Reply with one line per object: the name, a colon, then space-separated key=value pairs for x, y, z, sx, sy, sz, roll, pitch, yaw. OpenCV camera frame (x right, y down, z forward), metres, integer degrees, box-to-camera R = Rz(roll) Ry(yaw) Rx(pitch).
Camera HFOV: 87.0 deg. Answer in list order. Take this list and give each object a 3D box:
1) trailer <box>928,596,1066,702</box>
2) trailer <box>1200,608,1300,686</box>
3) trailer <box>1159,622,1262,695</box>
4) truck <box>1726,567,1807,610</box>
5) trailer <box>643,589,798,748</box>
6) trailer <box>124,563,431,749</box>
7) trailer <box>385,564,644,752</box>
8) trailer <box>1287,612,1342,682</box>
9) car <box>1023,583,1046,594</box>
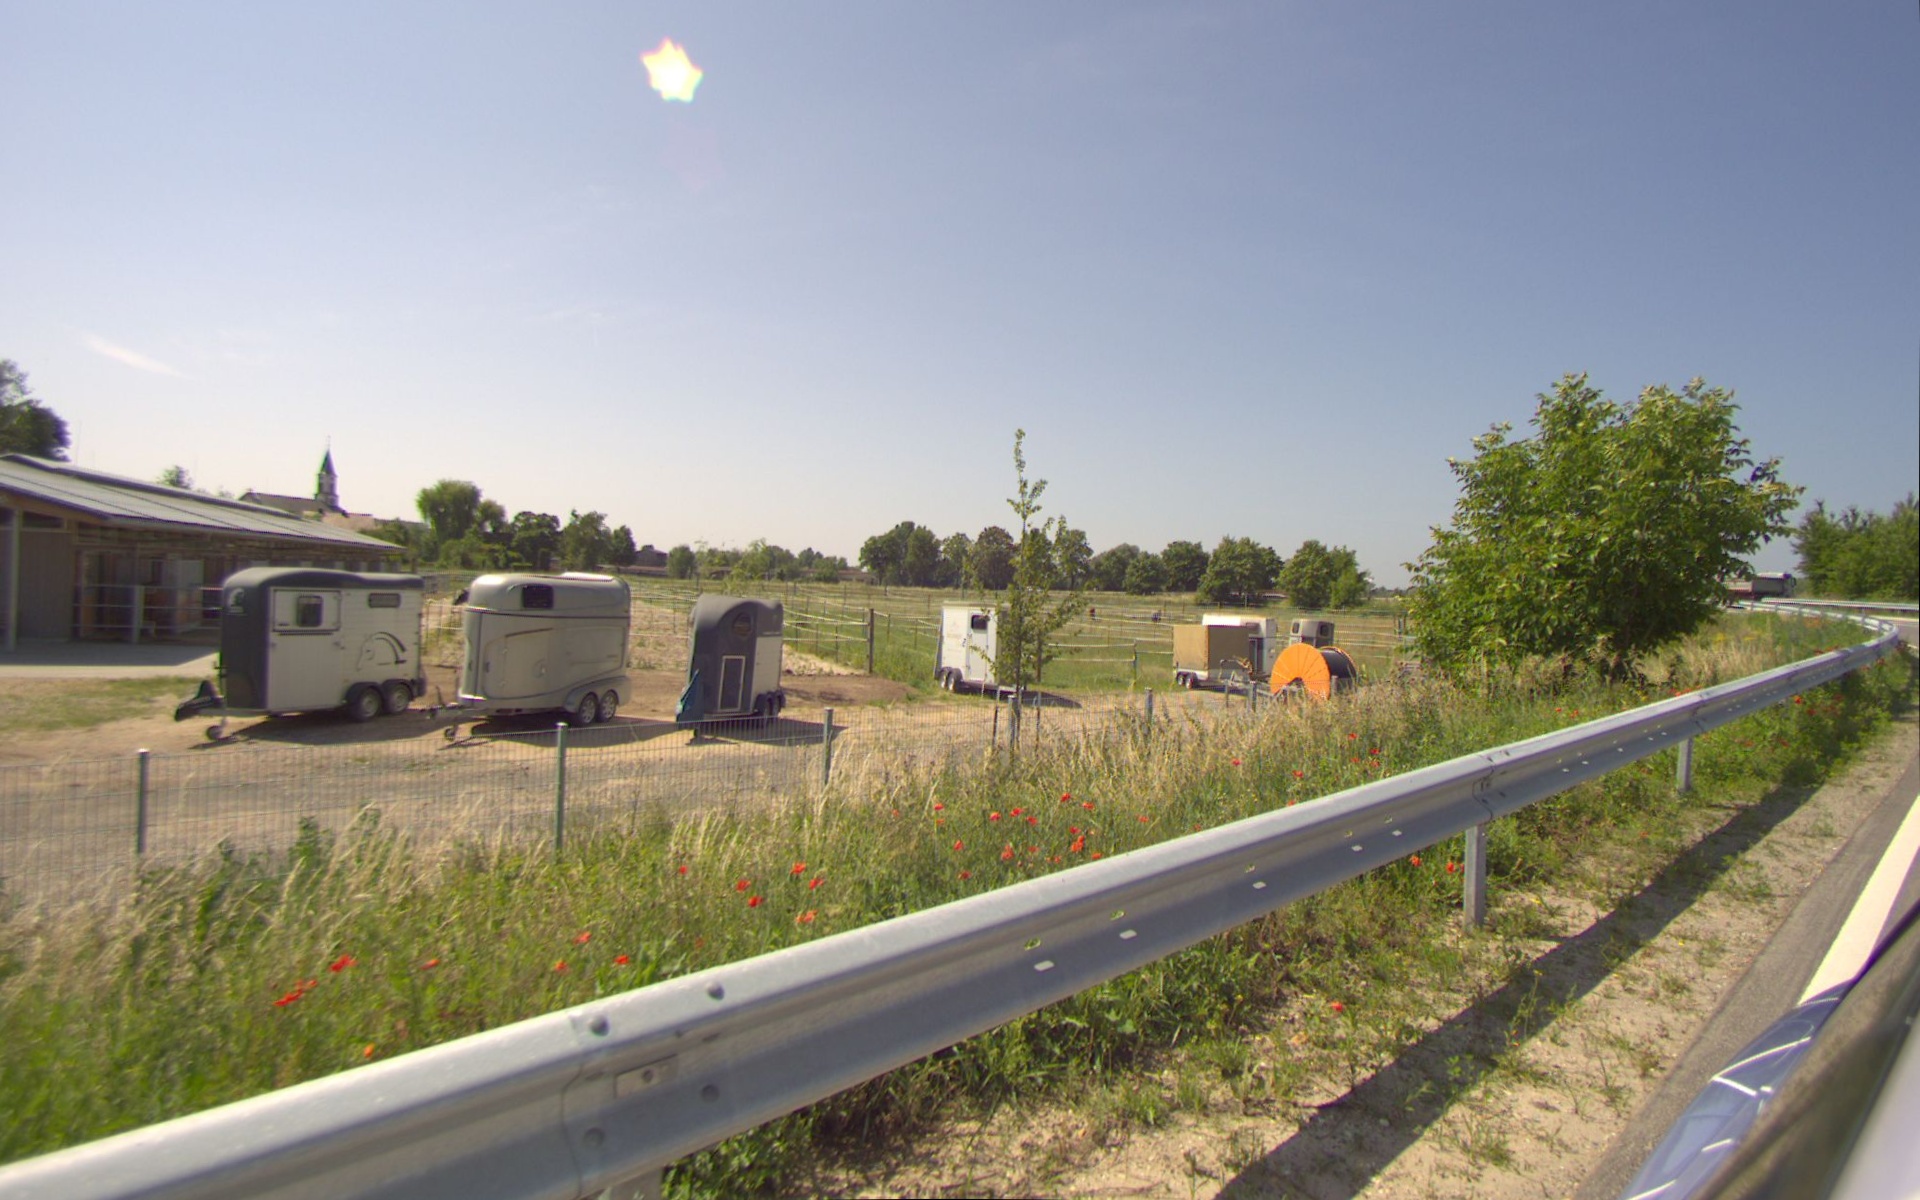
trailer: x=0.952 y=1.332 z=29.860 sx=2.162 sy=2.722 sz=5.200 roll=2 pitch=1 yaw=-20
trailer: x=11.504 y=1.809 z=40.342 sx=2.120 sy=2.840 sz=3.428 roll=1 pitch=1 yaw=-23
trailer: x=9.081 y=2.074 z=37.014 sx=1.965 sy=2.421 sz=4.101 roll=1 pitch=-1 yaw=-13
truck: x=69.506 y=-1.006 z=87.170 sx=8.030 sy=3.583 sz=2.828 roll=-1 pitch=1 yaw=-31
trailer: x=-4.655 y=1.202 z=20.379 sx=1.792 sy=2.661 sz=4.552 roll=5 pitch=1 yaw=0
trailer: x=-11.665 y=0.774 z=17.758 sx=2.137 sy=2.702 sz=4.477 roll=3 pitch=3 yaw=4
trailer: x=-7.959 y=0.875 z=18.773 sx=2.195 sy=2.900 sz=5.039 roll=3 pitch=1 yaw=4
trailer: x=15.726 y=2.049 z=44.814 sx=1.977 sy=2.840 sz=3.351 roll=3 pitch=-1 yaw=22
car: x=14.198 y=-2.164 z=192.961 sx=4.206 sy=2.039 sz=2.002 roll=0 pitch=1 yaw=-5
